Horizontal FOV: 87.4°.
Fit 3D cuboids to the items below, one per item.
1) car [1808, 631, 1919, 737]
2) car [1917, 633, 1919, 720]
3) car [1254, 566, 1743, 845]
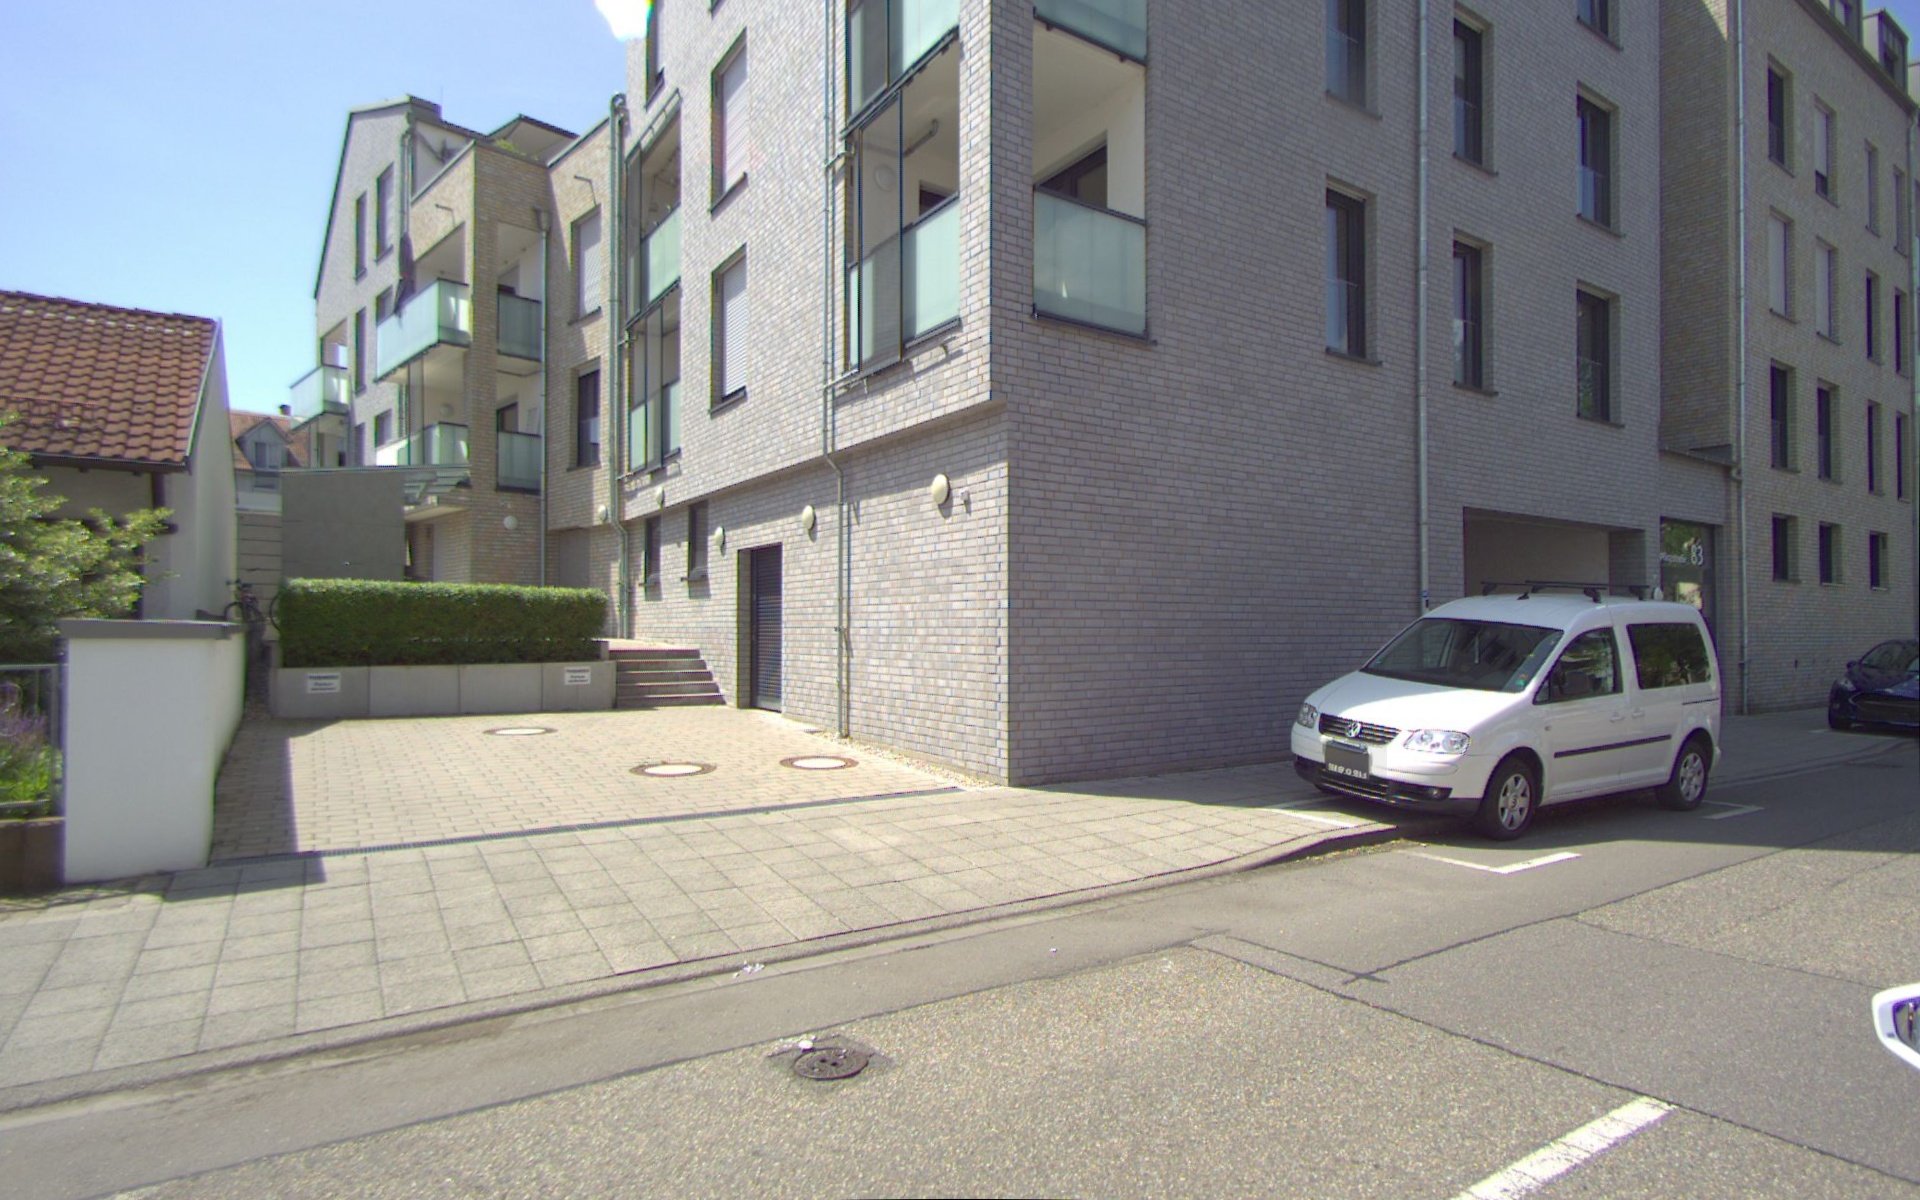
[{"bbox_3d":[15.152,1.271,15.801,3.962,1.475,1.713,2,0,-33],"label":"car"},{"bbox_3d":[19.119,1.408,18.444,3.535,1.574,1.580,2,-1,-35],"label":"car"},{"bbox_3d":[4.766,0.745,8.747,4.286,1.917,1.748,1,1,-31],"label":"car"}]
